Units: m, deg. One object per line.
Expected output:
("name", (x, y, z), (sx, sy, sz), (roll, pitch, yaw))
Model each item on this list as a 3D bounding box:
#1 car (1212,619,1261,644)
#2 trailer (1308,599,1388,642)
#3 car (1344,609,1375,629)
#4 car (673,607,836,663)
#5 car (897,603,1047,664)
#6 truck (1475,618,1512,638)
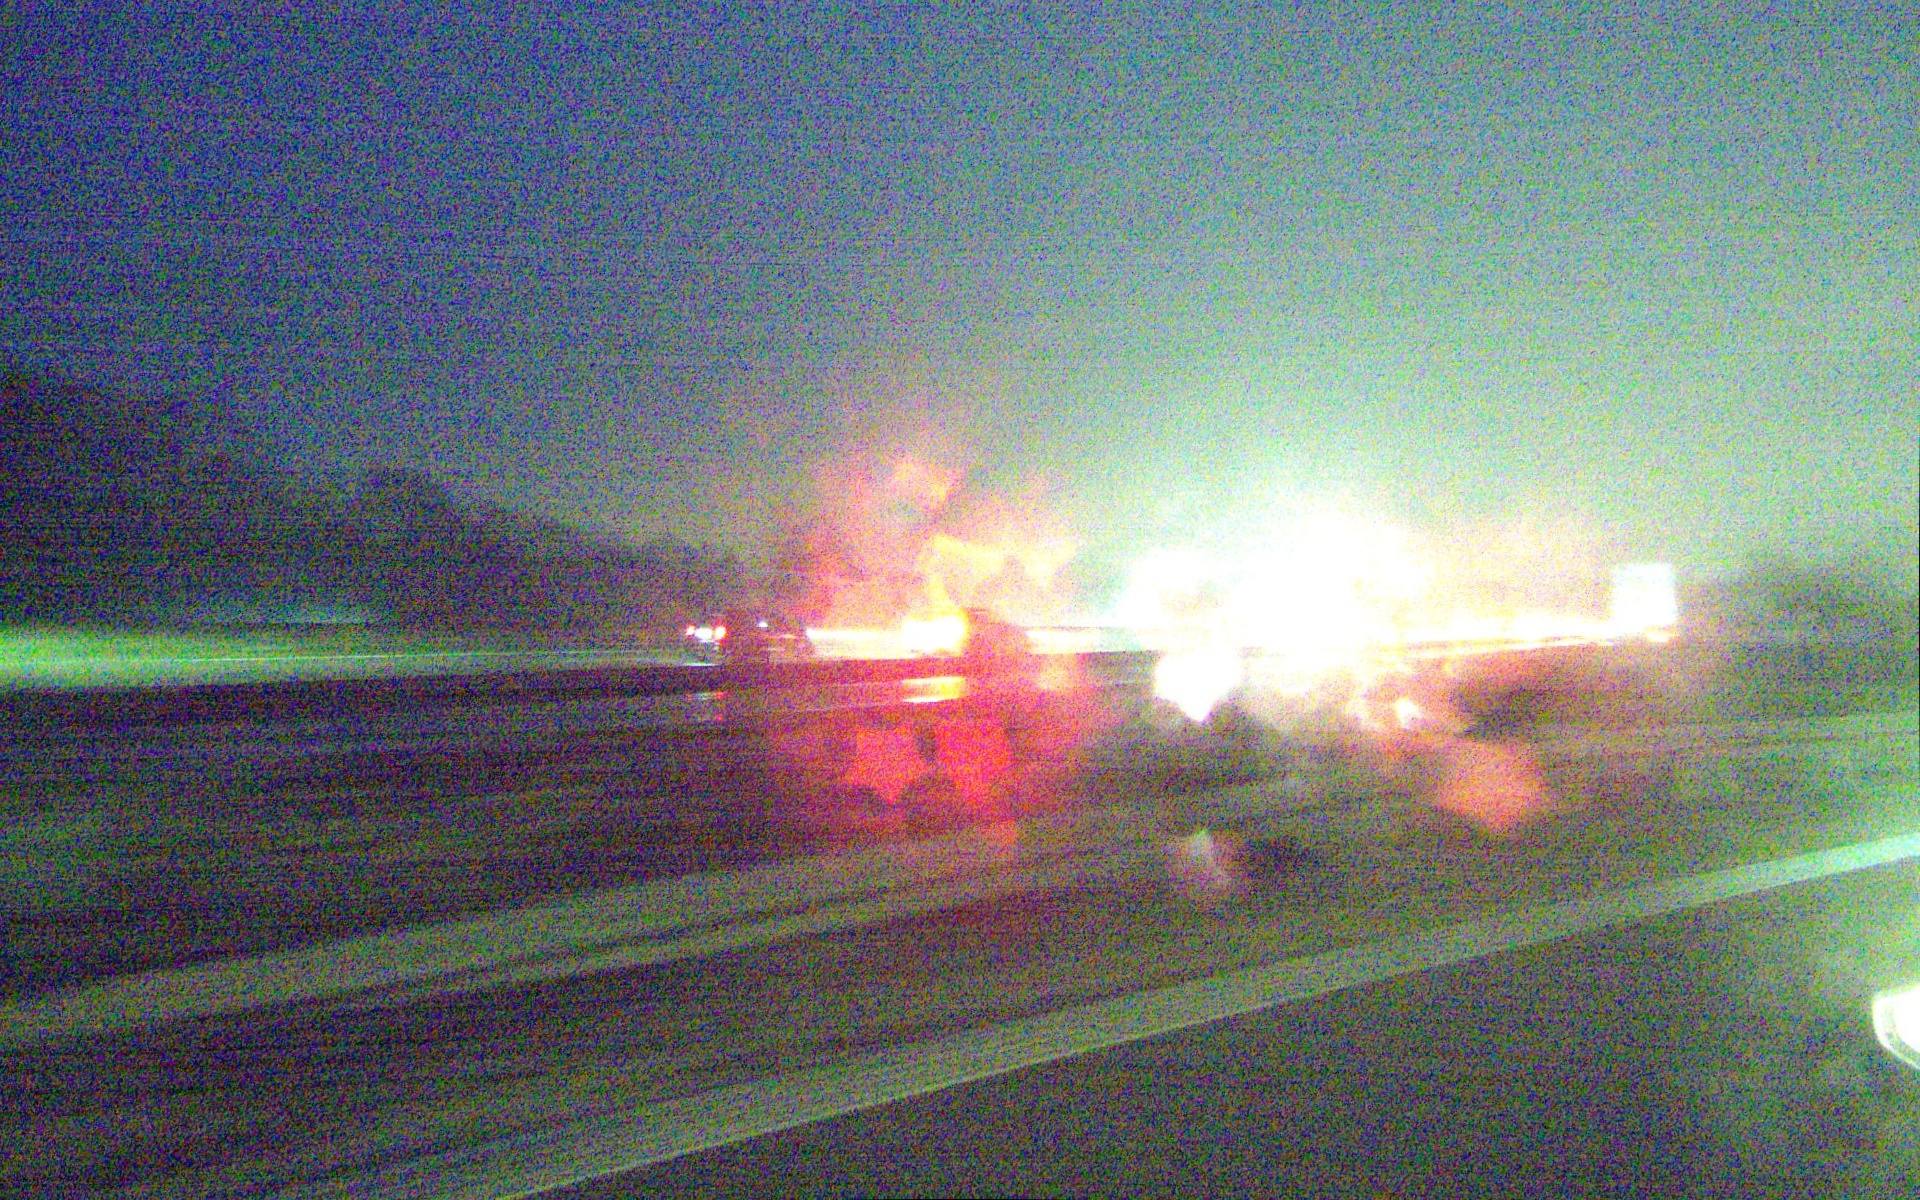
("car", (18.737, 2.120, 67.947), (1.737, 1.538, 4.230), (3, 0, 36))
("trailer", (23.393, 1.161, 60.237), (1.967, 2.313, 9.624), (4, 2, 36))
("car", (38.462, 1.826, 96.725), (1.737, 1.733, 4.230), (4, 1, 35))
("car", (-5.660, 0.972, 28.143), (1.738, 1.395, 4.409), (2, 0, 37))
("car", (0.456, 0.981, 29.878), (1.907, 1.636, 4.836), (2, -1, 37))
("truck", (64.534, 3.343, 121.506), (1.970, 2.296, 9.270), (2, 0, 40))
